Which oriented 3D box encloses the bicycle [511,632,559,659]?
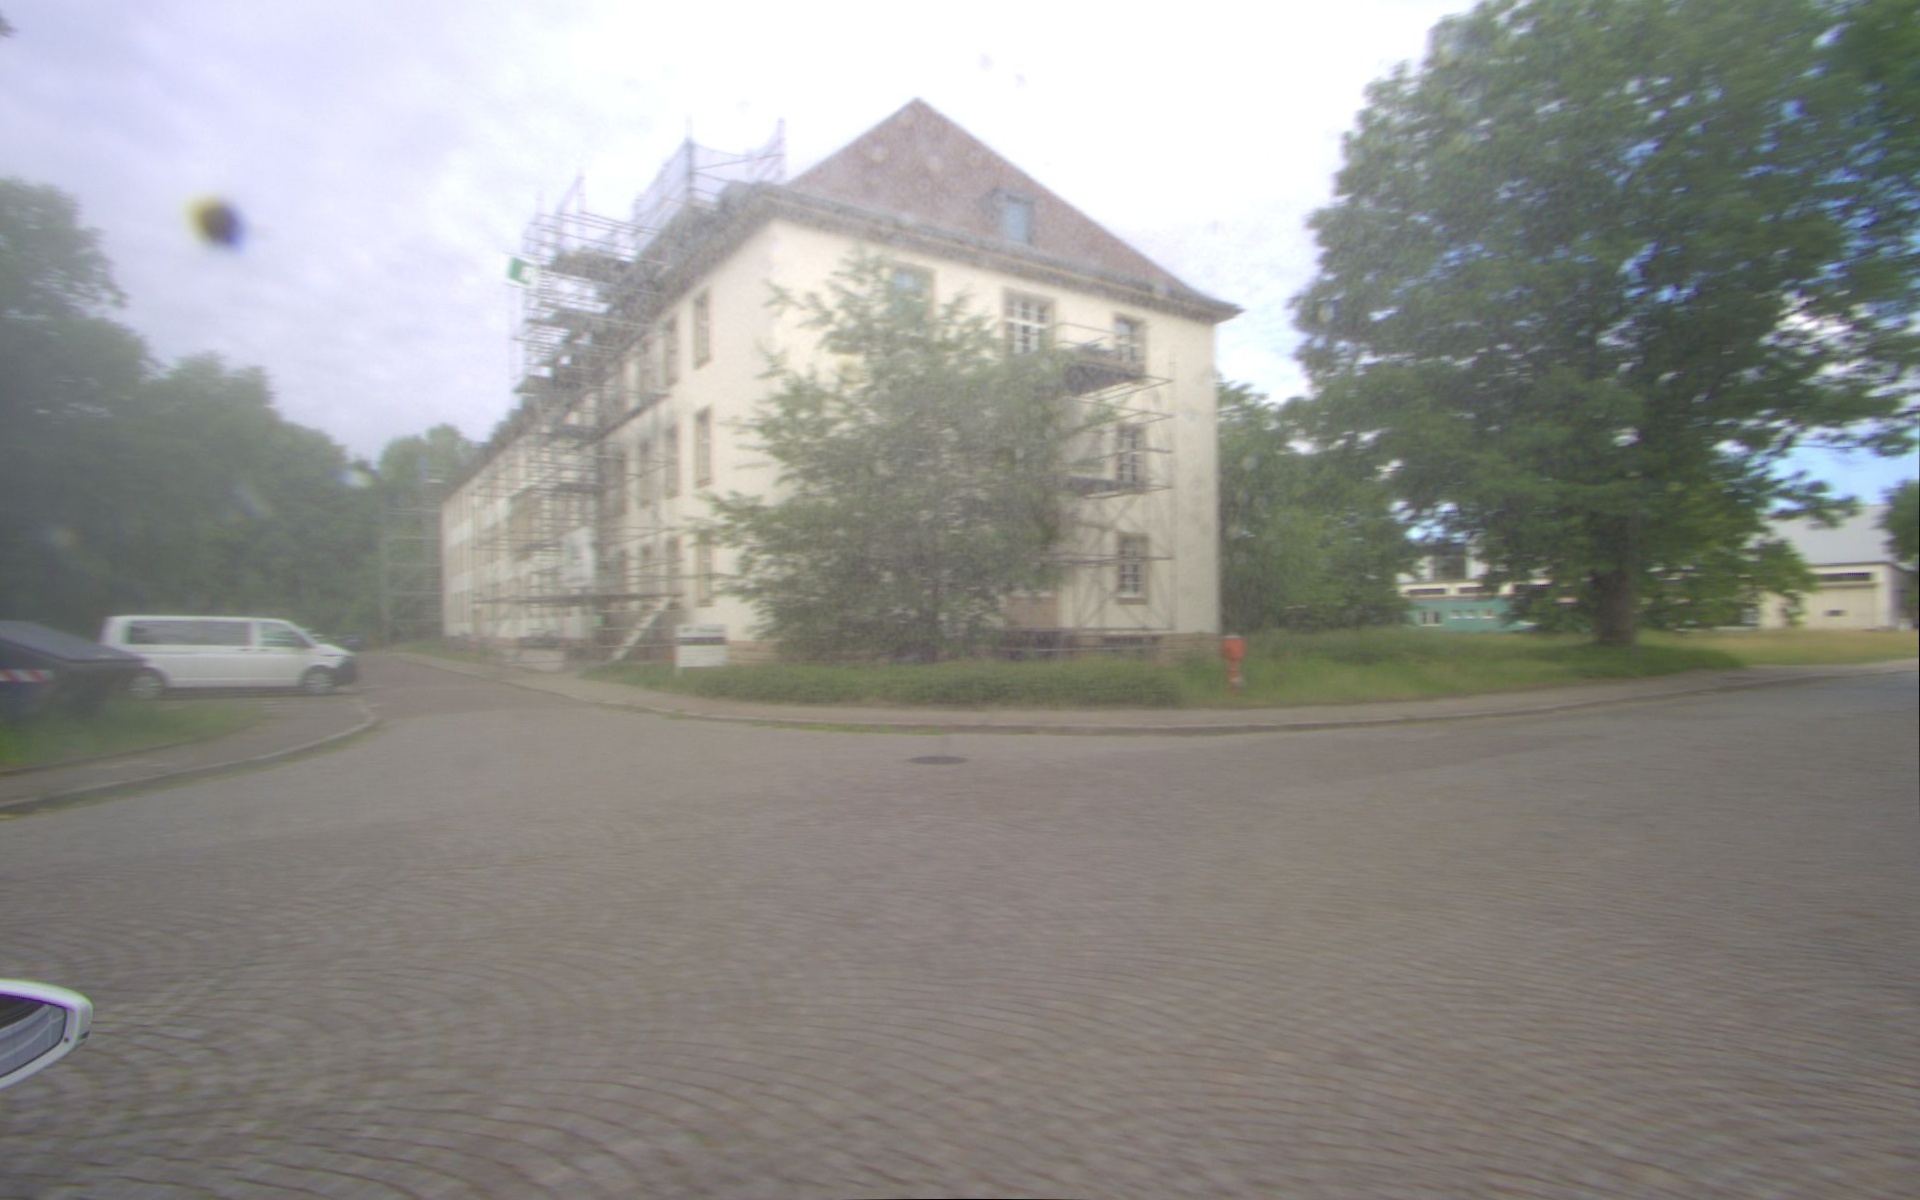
[{"bbox_3d":[-18.079,1.913,42.584,1.834,1.109,0.509,0,-1,-27],"label":"bicycle"}]

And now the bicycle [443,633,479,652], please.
[{"bbox_3d":[-30.199,2.581,60.612,1.827,1.109,0.510,-1,-1,-12],"label":"bicycle"}]

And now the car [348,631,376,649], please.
[{"bbox_3d":[-47.892,3.162,80.110,1.564,1.389,3.925,0,-1,-36],"label":"car"}]

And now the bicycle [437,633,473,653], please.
[{"bbox_3d":[-29.617,2.508,58.763,1.827,1.109,0.510,-1,-1,-12],"label":"bicycle"}]

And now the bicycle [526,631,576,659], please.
[{"bbox_3d":[-16.711,1.844,40.943,1.834,1.109,0.509,0,-1,-27],"label":"bicycle"}]

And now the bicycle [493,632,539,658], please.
[{"bbox_3d":[-19.686,1.990,44.399,1.834,1.109,0.509,0,-1,-27],"label":"bicycle"}]

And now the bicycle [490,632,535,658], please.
[{"bbox_3d":[-20.193,2.023,45.214,1.834,1.109,0.509,0,-1,-27],"label":"bicycle"}]

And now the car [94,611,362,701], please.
[{"bbox_3d":[-17.994,1.306,24.941,5.208,2.022,1.956,0,-1,-35],"label":"car"}]

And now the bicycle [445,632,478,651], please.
[{"bbox_3d":[-30.794,2.571,61.863,1.834,1.109,0.509,0,-1,-27],"label":"bicycle"}]

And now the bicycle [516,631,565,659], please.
[{"bbox_3d":[-17.273,1.858,41.216,1.834,1.109,0.509,0,-1,-27],"label":"bicycle"}]

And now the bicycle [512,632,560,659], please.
[{"bbox_3d":[-17.725,1.888,41.862,1.834,1.109,0.509,0,-1,-27],"label":"bicycle"}]
